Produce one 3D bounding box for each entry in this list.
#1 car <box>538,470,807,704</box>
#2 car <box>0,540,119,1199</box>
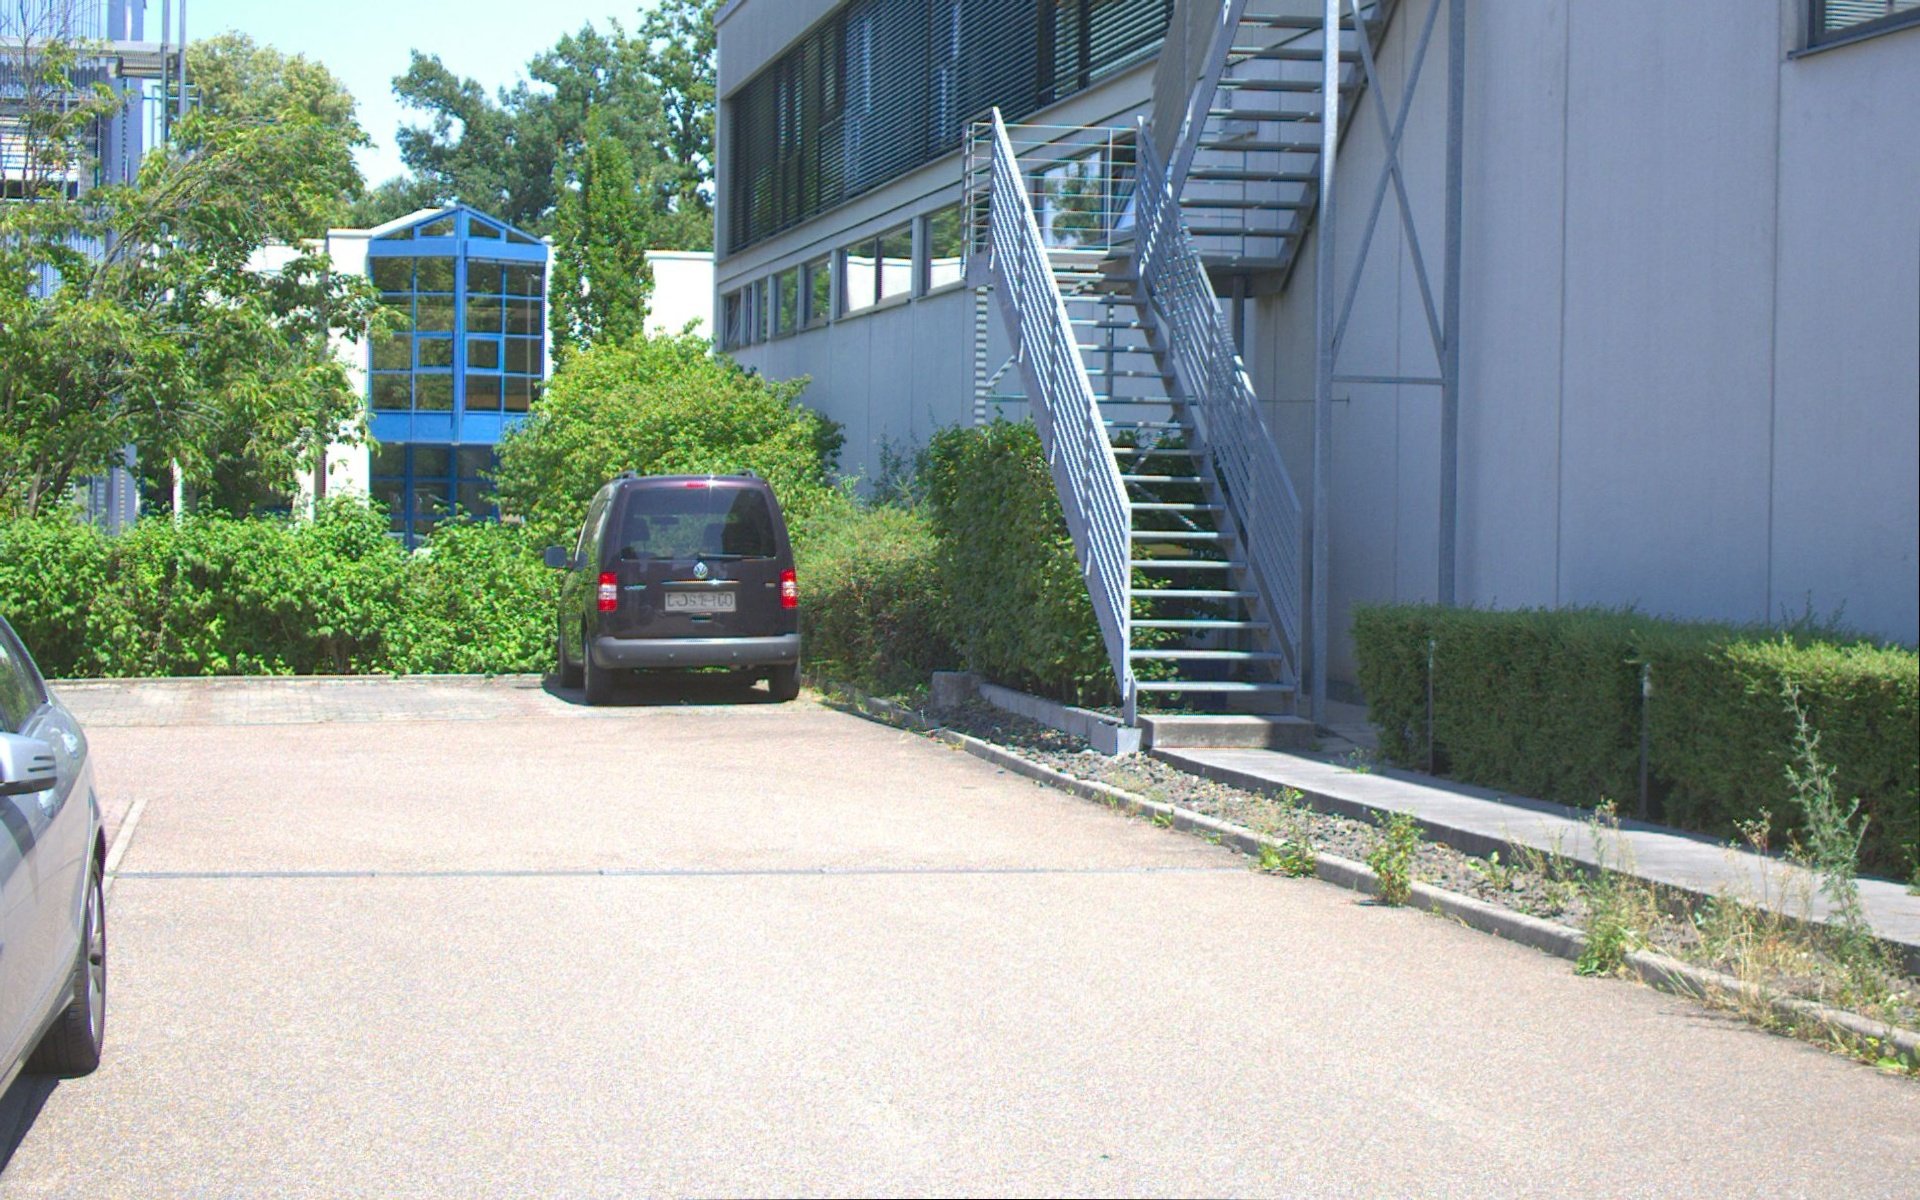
[{"bbox_3d":[-2.497,-0.174,29.066,1.742,1.830,4.002,-1,2,-12],"label":"car"},{"bbox_3d":[-2.966,0.608,7.779,1.728,1.452,4.149,-1,1,-9],"label":"car"}]
